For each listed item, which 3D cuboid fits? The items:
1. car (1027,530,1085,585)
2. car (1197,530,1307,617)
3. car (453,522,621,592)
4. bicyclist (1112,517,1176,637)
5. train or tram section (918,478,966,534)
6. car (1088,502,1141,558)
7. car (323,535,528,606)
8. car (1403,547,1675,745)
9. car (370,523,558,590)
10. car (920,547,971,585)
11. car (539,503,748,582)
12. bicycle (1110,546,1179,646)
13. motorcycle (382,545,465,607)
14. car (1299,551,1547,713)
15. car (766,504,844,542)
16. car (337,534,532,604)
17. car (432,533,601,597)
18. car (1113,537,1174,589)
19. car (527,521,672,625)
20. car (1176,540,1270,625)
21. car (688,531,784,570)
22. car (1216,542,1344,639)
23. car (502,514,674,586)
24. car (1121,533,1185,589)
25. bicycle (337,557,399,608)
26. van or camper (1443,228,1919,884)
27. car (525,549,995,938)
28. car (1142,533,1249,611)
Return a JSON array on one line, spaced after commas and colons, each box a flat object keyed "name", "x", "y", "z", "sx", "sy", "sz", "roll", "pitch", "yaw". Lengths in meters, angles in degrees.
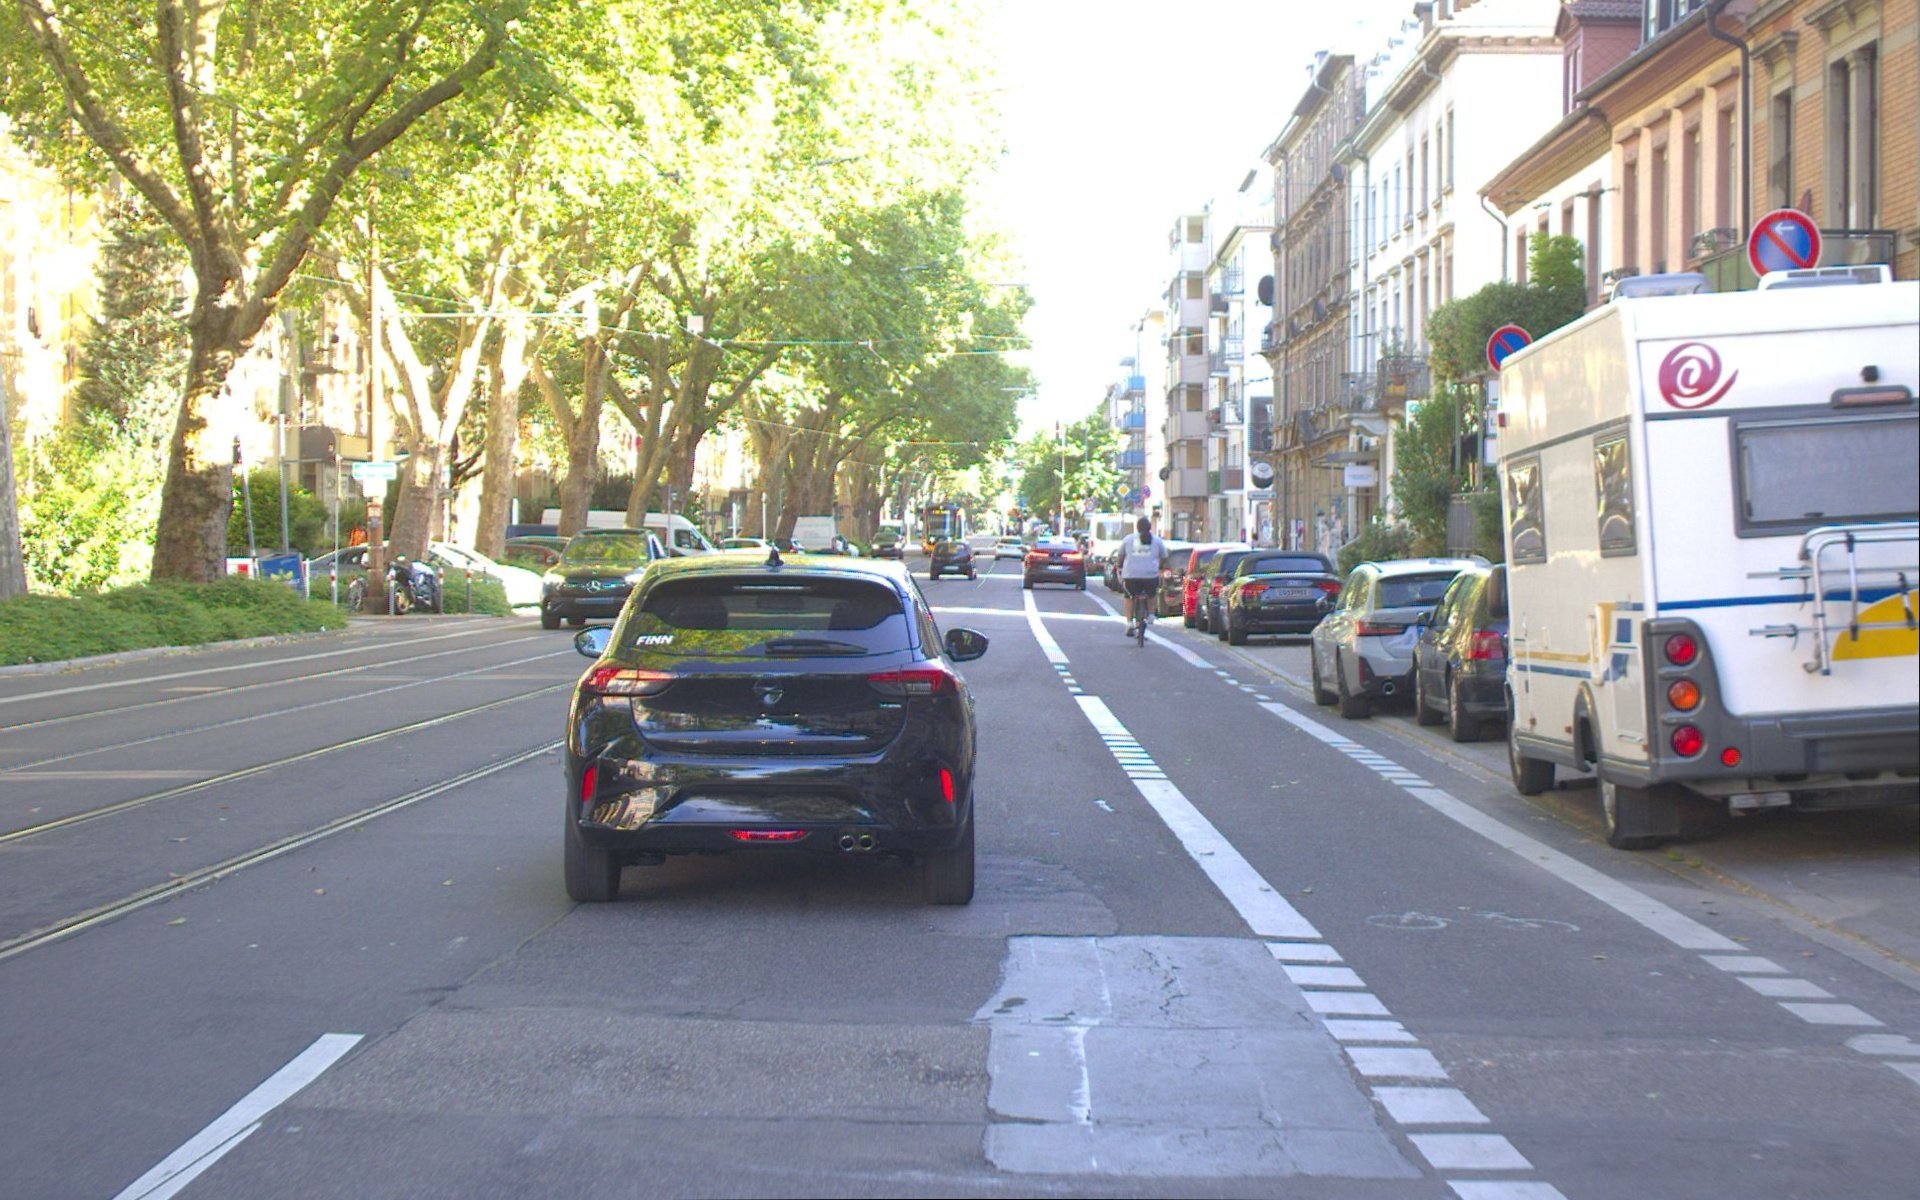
[{"name": "car", "x": 3.122, "y": -1.372, "z": 110.954, "sx": 1.810, "sy": 1.736, "sz": 3.933, "roll": 0, "pitch": 1, "yaw": 2}, {"name": "car", "x": 5.037, "y": -0.472, "z": 59.602, "sx": 1.651, "sy": 1.451, "sz": 3.868, "roll": -1, "pitch": 1, "yaw": 1}, {"name": "car", "x": -10.824, "y": -1.102, "z": 88.088, "sx": 3.995, "sy": 1.621, "sz": 1.879, "roll": 2, "pitch": 1, "yaw": 1}, {"name": "bicyclist", "x": 2.685, "y": -0.343, "z": 50.324, "sx": 0.848, "sy": 1.734, "sz": 1.162, "roll": 1, "pitch": 1, "yaw": 0}, {"name": "train or tram section", "x": -1.165, "y": -6.305, "z": 232.806, "sx": 2.735, "sy": 3.669, "sz": 12.716, "roll": 0, "pitch": 1, "yaw": 2}, {"name": "car", "x": 6.389, "y": -2.891, "z": 142.370, "sx": 2.075, "sy": 2.211, "sz": 4.933, "roll": -3, "pitch": 1, "yaw": 2}, {"name": "car", "x": -11.163, "y": -0.630, "z": 71.918, "sx": 3.920, "sy": 1.327, "sz": 1.847, "roll": 2, "pitch": 1, "yaw": 2}, {"name": "car", "x": 4.676, "y": 0.321, "z": 28.238, "sx": 1.645, "sy": 1.429, "sz": 4.029, "roll": -3, "pitch": 1, "yaw": 2}, {"name": "car", "x": -11.123, "y": -0.979, "z": 77.295, "sx": 3.920, "sy": 1.457, "sz": 1.805, "roll": 0, "pitch": 1, "yaw": 2}, {"name": "car", "x": -0.522, "y": -1.263, "z": 126.144, "sx": 1.810, "sy": 1.333, "sz": 3.933, "roll": 1, "pitch": 1, "yaw": 0}, {"name": "car", "x": -10.563, "y": -1.921, "z": 115.011, "sx": 6.628, "sy": 2.401, "sz": 2.458, "roll": 2, "pitch": 1, "yaw": 2}, {"name": "bicycle", "x": 2.684, "y": -0.081, "z": 50.281, "sx": 0.860, "sy": 1.402, "sz": 2.524, "roll": 1, "pitch": 1, "yaw": 0}, {"name": "motorcycle", "x": -10.287, "y": -0.473, "z": 66.002, "sx": 0.884, "sy": 1.143, "sz": 2.390, "roll": 1, "pitch": 1, "yaw": 9}, {"name": "car", "x": 4.380, "y": 0.255, "z": 33.161, "sx": 1.809, "sy": 1.430, "sz": 4.665, "roll": -1, "pitch": 1, "yaw": 1}, {"name": "car", "x": -7.930, "y": -3.947, "z": 176.292, "sx": 3.919, "sy": 1.784, "sz": 1.677, "roll": 2, "pitch": 1, "yaw": -1}, {"name": "car", "x": -11.349, "y": -0.668, "z": 74.422, "sx": 3.921, "sy": 1.448, "sz": 1.800, "roll": 1, "pitch": 1, "yaw": 1}, {"name": "car", "x": -11.040, "y": -0.879, "z": 85.797, "sx": 3.920, "sy": 1.437, "sz": 1.749, "roll": 2, "pitch": 1, "yaw": 2}, {"name": "car", "x": 5.608, "y": -1.137, "z": 104.802, "sx": 1.705, "sy": 1.451, "sz": 3.697, "roll": -3, "pitch": 1, "yaw": 4}, {"name": "car", "x": -5.971, "y": -0.490, "z": 57.424, "sx": 1.866, "sy": 1.624, "sz": 4.560, "roll": 0, "pitch": 2, "yaw": 1}, {"name": "car", "x": 4.909, "y": -0.353, "z": 64.493, "sx": 1.634, "sy": 1.541, "sz": 3.576, "roll": -1, "pitch": 1, "yaw": 2}, {"name": "car", "x": -9.493, "y": -2.089, "z": 145.901, "sx": 3.919, "sy": 1.493, "sz": 1.677, "roll": 2, "pitch": 1, "yaw": -1}, {"name": "car", "x": 4.844, "y": -0.176, "z": 52.464, "sx": 1.694, "sy": 1.388, "sz": 4.494, "roll": -1, "pitch": 1, "yaw": 2}, {"name": "car", "x": -10.782, "y": -1.457, "z": 99.919, "sx": 4.675, "sy": 1.917, "sz": 1.980, "roll": 2, "pitch": 1, "yaw": 3}, {"name": "car", "x": 5.592, "y": -1.133, "z": 99.747, "sx": 1.567, "sy": 1.512, "sz": 3.041, "roll": -3, "pitch": 1, "yaw": -1}, {"name": "bicycle", "x": -11.381, "y": -0.344, "z": 66.089, "sx": 0.541, "sy": 0.937, "sz": 2.033, "roll": 1, "pitch": 1, "yaw": 9}, {"name": "van or camper", "x": 4.485, "y": -0.289, "z": 19.779, "sx": 2.477, "sy": 2.962, "sz": 7.883, "roll": -3, "pitch": 1, "yaw": 2}, {"name": "car", "x": -0.765, "y": 0.534, "z": 15.185, "sx": 1.794, "sy": 1.436, "sz": 3.531, "roll": 1, "pitch": 2, "yaw": 1}, {"name": "car", "x": 5.156, "y": -0.623, "z": 75.696, "sx": 1.880, "sy": 1.580, "sz": 3.933, "roll": -3, "pitch": 1, "yaw": -2}]
